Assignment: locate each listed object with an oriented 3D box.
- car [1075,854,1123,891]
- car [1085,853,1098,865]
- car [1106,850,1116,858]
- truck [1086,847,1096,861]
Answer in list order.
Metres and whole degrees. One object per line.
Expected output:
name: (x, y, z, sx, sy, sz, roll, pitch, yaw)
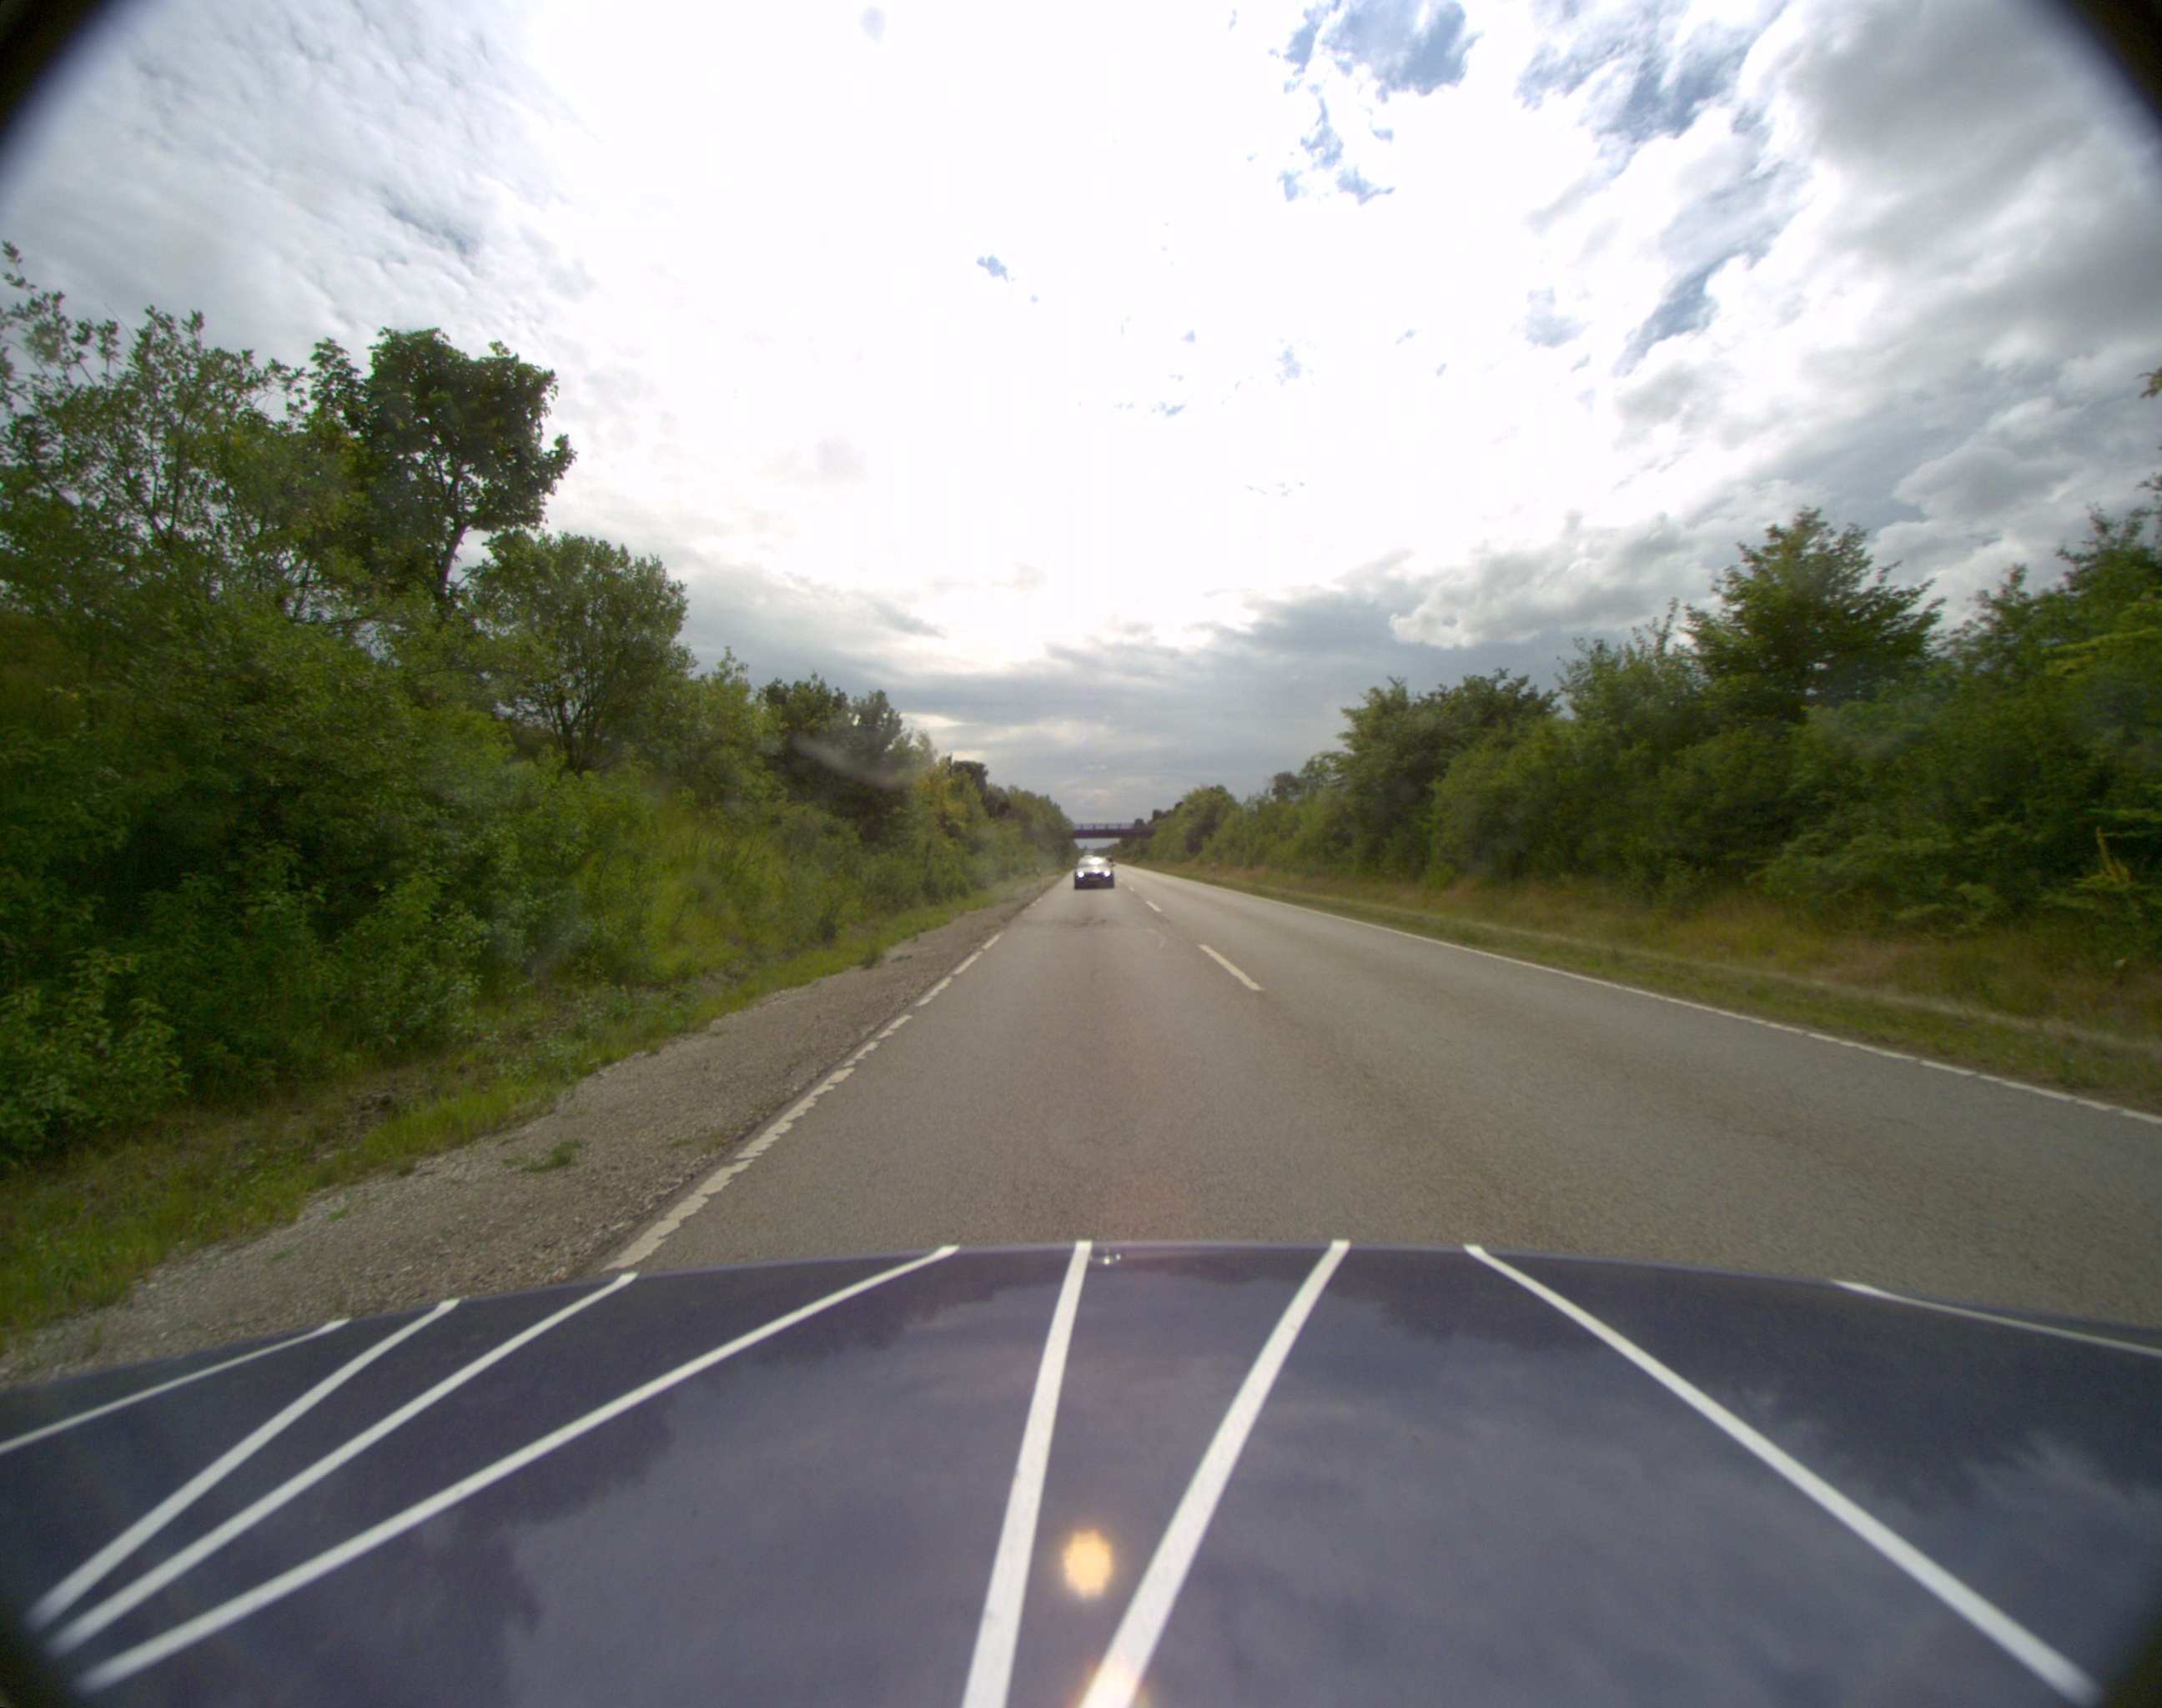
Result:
car: (0.787, 0.792, 34.863, 1.998, 1.436, 4.640, -2, 0, 1)
car: (1.535, 0.731, 111.631, 1.870, 1.597, 4.000, -2, 0, 0)
car: (5.928, 0.006, 152.314, 1.833, 1.456, 4.411, -2, 0, 1)
truck: (1.843, -0.031, 143.696, 1.802, 2.518, 6.685, -2, 1, 1)
